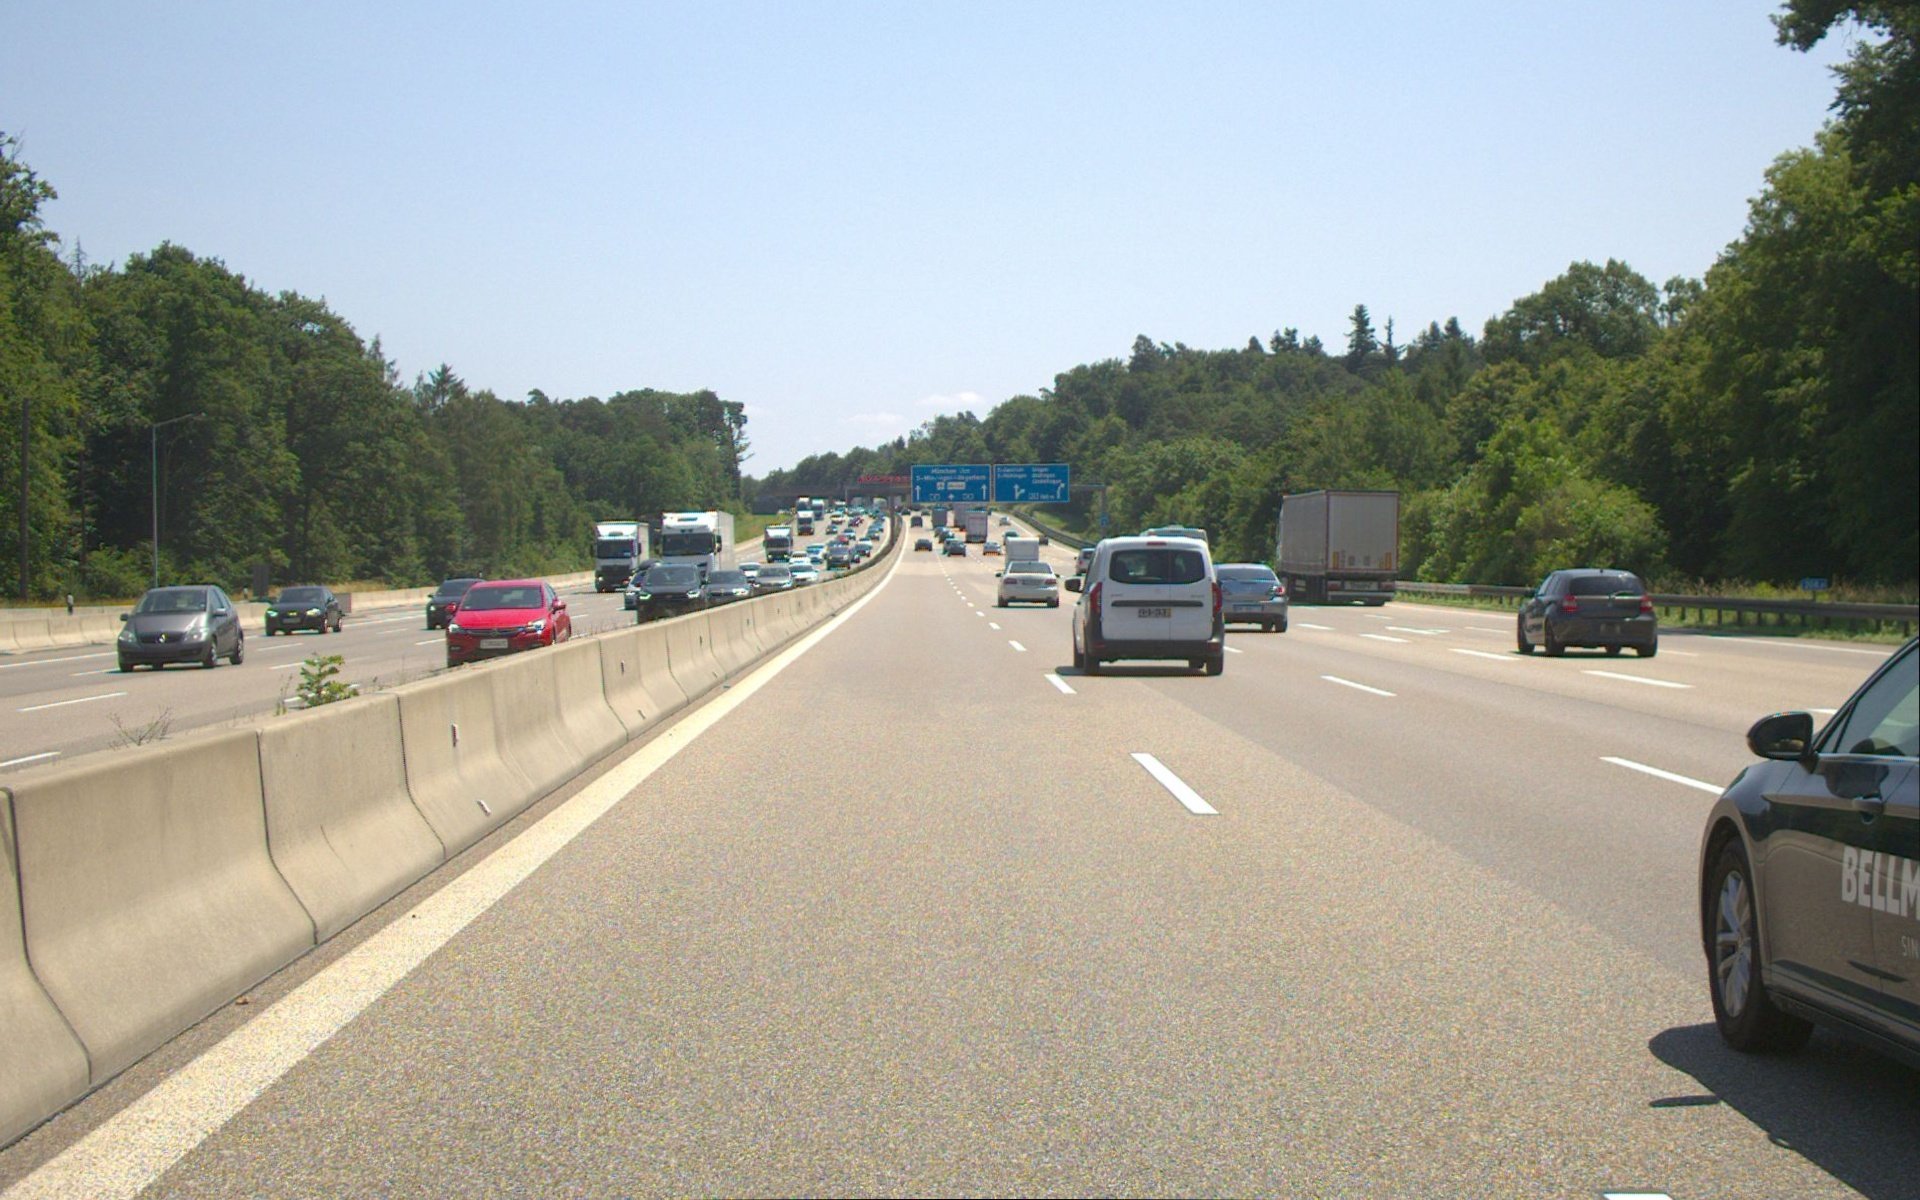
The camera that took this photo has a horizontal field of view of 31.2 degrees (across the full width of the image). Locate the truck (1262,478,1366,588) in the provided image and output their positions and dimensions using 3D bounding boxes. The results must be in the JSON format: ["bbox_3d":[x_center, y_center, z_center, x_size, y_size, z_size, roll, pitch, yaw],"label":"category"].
[{"bbox_3d":[13.603,-2.625,132.429,3.254,4.092,5.988,1,2,-1],"label":"truck"}]

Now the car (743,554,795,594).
[{"bbox_3d":[-8.057,-1.121,145.442,1.993,1.482,5.136,-5,1,-2],"label":"car"}]

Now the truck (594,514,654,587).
[{"bbox_3d":[-19.800,-2.916,203.107,2.834,4.183,10.597,-1,1,-2],"label":"truck"}]

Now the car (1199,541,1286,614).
[{"bbox_3d":[5.993,-0.488,73.266,1.503,1.495,3.650,-1,1,0],"label":"car"}]

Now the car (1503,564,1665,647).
[{"bbox_3d":[10.139,0.066,56.124,1.670,1.269,4.290,1,1,-3],"label":"car"}]

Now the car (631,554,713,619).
[{"bbox_3d":[-7.901,-0.396,94.702,1.993,1.657,5.755,-2,1,-3],"label":"car"}]

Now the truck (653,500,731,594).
[{"bbox_3d":[-12.273,-2.432,157.807,3.047,4.122,6.949,-1,1,-1],"label":"truck"}]

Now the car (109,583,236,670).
[{"bbox_3d":[-15.029,0.485,65.801,1.721,1.549,4.058,-1,1,-4],"label":"car"}]

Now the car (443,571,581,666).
[{"bbox_3d":[-7.595,0.281,58.717,1.730,1.508,5.045,-1,1,-1],"label":"car"}]

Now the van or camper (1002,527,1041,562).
[{"bbox_3d":[4.506,-4.095,253.498,2.645,2.530,6.502,-1,1,-1],"label":"van or camper"}]

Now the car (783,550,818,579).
[{"bbox_3d":[-8.247,-1.841,178.240,1.747,1.452,4.157,-1,1,-2],"label":"car"}]

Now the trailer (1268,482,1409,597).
[{"bbox_3d":[13.705,-2.294,125.723,3.287,3.917,13.892,1,2,-1],"label":"trailer"}]

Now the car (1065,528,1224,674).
[{"bbox_3d":[2.416,-0.026,45.969,1.860,1.819,4.612,-1,1,0],"label":"car"}]

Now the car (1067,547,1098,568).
[{"bbox_3d":[8.095,-2.824,227.120,1.835,1.333,3.643,-1,1,-1],"label":"car"}]

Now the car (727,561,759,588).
[{"bbox_3d":[-12.586,-1.480,199.579,1.722,1.501,4.461,-1,1,-2],"label":"car"}]

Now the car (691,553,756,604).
[{"bbox_3d":[-8.131,-0.767,118.498,1.993,1.657,4.972,-2,1,-2],"label":"car"}]

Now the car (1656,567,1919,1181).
[{"bbox_3d":[3.157,0.654,8.845,1.729,1.442,4.961,0,1,0],"label":"car"}]

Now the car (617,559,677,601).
[{"bbox_3d":[-12.119,-0.785,133.257,1.993,1.482,5.019,-2,1,-2],"label":"car"}]

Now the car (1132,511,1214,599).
[{"bbox_3d":[6.591,-1.441,107.167,2.143,2.643,5.710,0,2,-1],"label":"car"}]

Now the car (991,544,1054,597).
[{"bbox_3d":[1.973,-0.944,109.307,1.843,1.623,4.553,-1,1,0],"label":"car"}]

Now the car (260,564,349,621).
[{"bbox_3d":[-19.573,-0.245,102.798,1.993,1.615,4.215,-1,1,-2],"label":"car"}]

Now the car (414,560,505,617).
[{"bbox_3d":[-15.155,-0.373,104.419,1.993,1.615,5.755,-1,1,-1],"label":"car"}]
